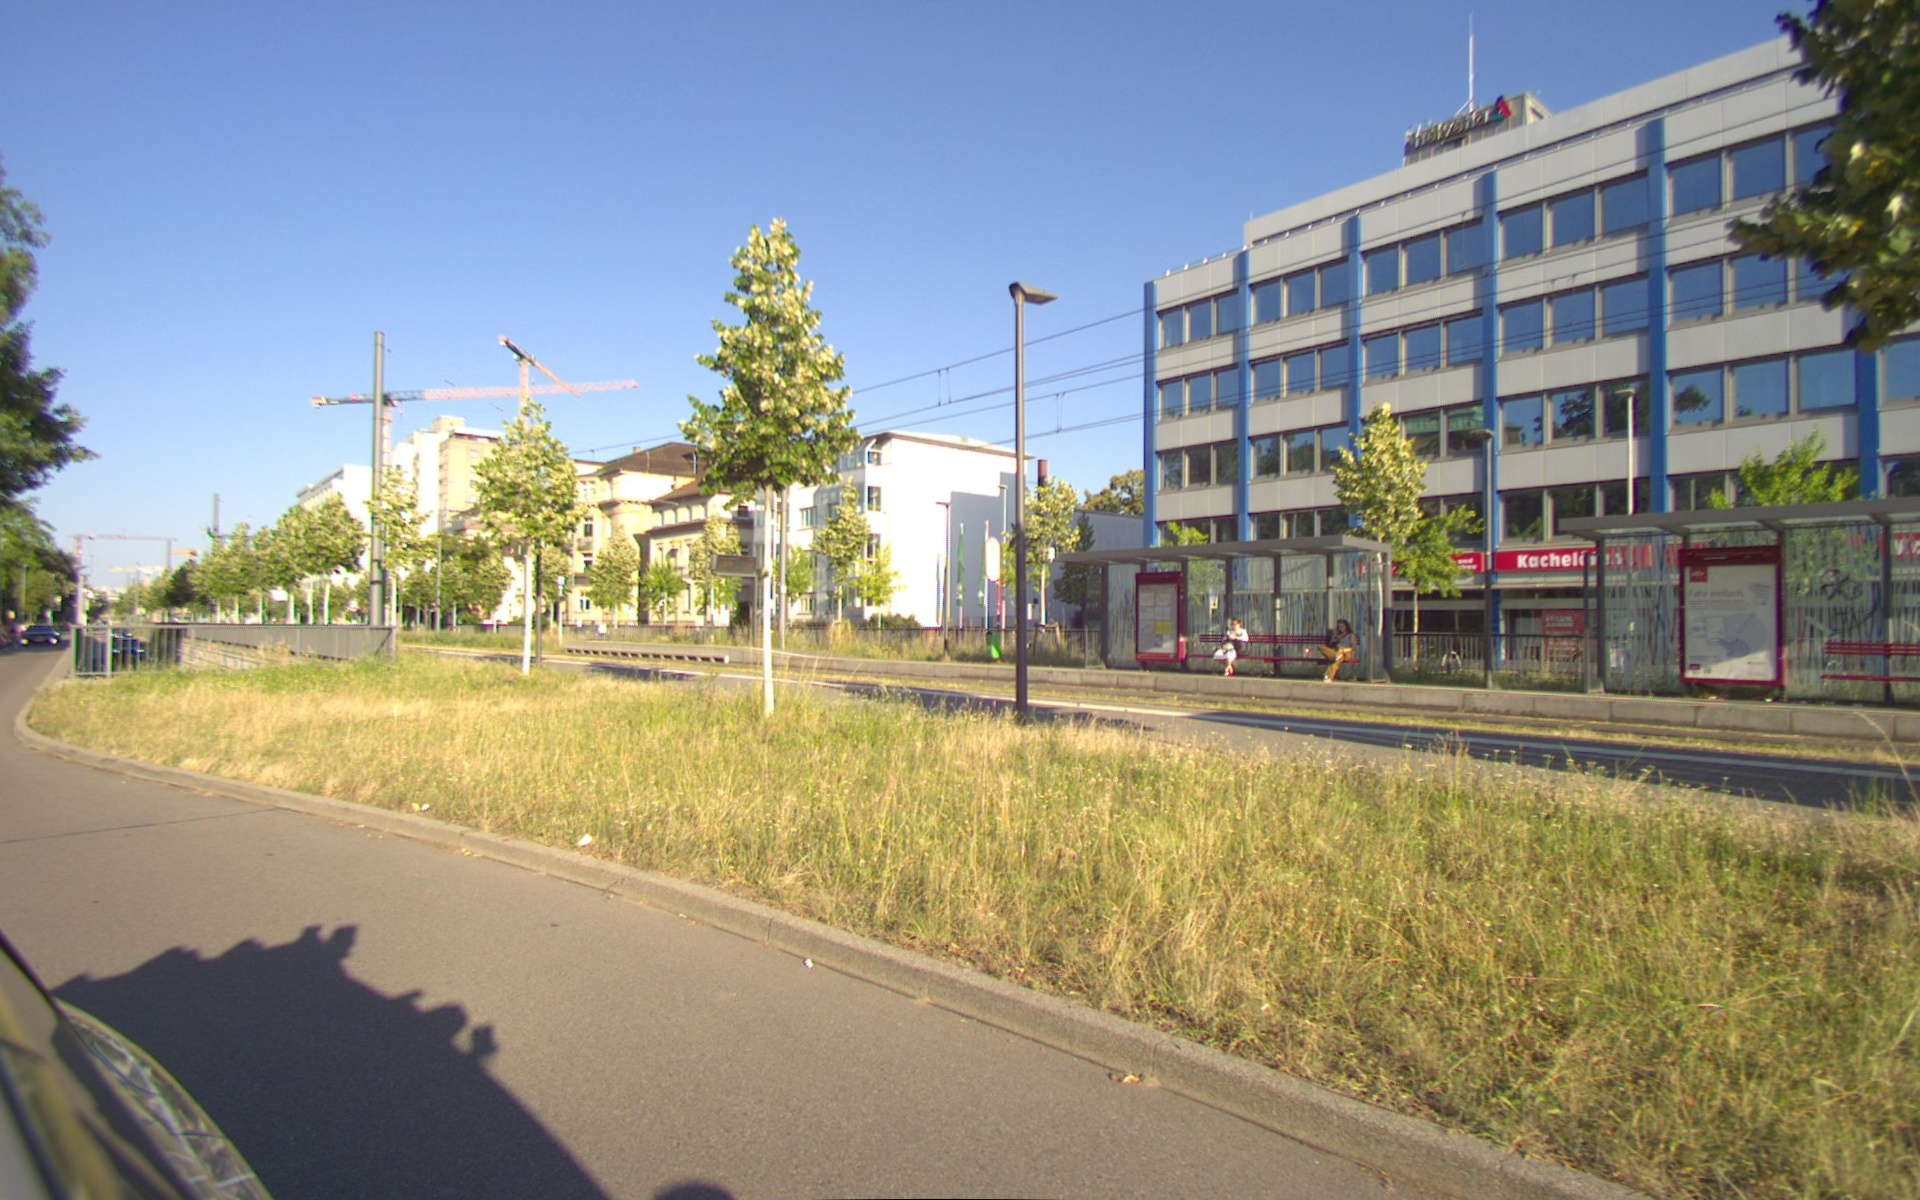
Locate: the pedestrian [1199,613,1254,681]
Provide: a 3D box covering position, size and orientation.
[{"bbox_3d":[5.696,0.996,21.622,0.828,1.421,0.805,2,-3,-42],"label":"pedestrian"}]

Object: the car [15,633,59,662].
[{"bbox_3d":[-62.963,3.203,69.118,2.049,1.852,4.006,2,-2,-41],"label":"car"}]

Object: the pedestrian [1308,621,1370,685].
[{"bbox_3d":[7.361,1.018,19.655,0.922,1.206,0.765,2,-3,-42],"label":"pedestrian"}]

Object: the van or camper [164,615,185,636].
[{"bbox_3d":[-125.613,4.091,161.822,2.472,3.192,7.490,1,-2,-38],"label":"van or camper"}]
